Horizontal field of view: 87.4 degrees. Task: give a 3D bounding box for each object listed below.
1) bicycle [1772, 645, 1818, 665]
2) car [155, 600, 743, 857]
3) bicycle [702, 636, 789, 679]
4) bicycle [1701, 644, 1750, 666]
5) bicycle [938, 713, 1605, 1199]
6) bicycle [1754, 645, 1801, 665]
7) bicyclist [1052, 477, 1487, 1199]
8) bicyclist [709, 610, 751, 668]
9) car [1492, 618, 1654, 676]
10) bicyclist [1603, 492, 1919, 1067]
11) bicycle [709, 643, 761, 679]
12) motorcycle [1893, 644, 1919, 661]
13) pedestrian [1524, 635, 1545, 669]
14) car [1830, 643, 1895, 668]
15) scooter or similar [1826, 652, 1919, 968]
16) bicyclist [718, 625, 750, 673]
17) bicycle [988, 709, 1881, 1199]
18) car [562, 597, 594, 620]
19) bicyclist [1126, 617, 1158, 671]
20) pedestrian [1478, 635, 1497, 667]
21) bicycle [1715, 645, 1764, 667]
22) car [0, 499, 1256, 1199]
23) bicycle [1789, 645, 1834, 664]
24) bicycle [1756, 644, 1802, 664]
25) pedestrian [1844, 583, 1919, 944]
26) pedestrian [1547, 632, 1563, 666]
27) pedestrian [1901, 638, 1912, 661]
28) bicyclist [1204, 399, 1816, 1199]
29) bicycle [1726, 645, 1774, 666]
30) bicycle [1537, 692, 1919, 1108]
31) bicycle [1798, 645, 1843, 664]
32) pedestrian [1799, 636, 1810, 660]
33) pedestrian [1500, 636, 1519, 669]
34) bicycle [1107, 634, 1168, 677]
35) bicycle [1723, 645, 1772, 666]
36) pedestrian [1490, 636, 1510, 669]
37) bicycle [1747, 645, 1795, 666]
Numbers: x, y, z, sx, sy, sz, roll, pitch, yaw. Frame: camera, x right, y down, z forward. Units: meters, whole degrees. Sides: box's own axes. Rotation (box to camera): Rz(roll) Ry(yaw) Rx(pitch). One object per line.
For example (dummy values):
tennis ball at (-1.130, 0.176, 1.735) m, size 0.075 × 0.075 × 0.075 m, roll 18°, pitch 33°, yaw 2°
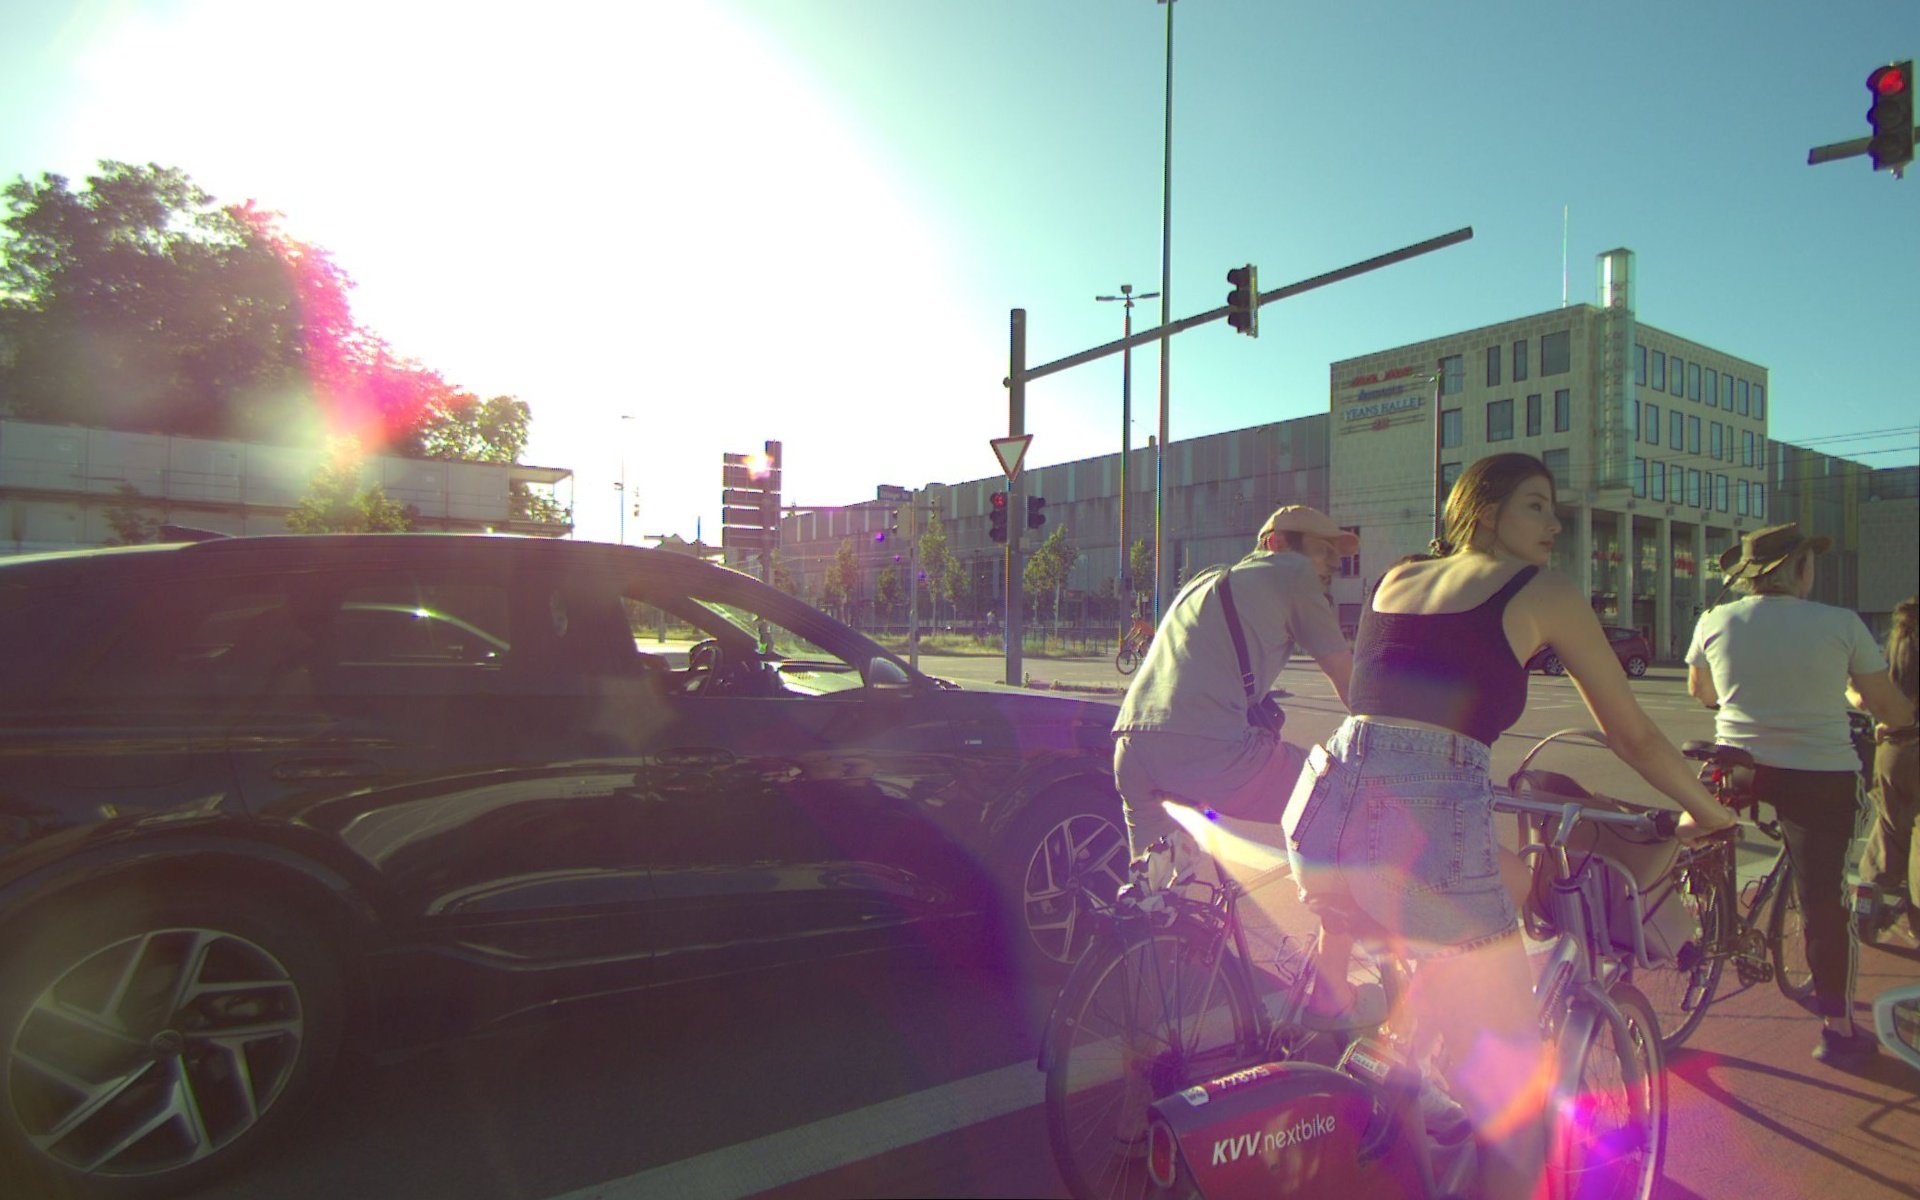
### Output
bicycle at (55.519, 3.629, 66.828) m, size 0.605 × 1.238 × 2.295 m, roll 1°, pitch -1°, yaw -31°
car at (-3.583, 0.787, 7.492) m, size 3.562 × 1.505 × 1.485 m, roll 1°, pitch 0°, yaw -30°
bicycle at (-7.707, 2.052, 36.058) m, size 2.905 × 1.388 × 0.970 m, roll 2°, pitch 0°, yaw 16°
bicycle at (45.763, 3.297, 60.081) m, size 0.605 × 1.238 × 2.295 m, roll 1°, pitch -1°, yaw -31°
bicycle at (0.943, 0.950, 2.767) m, size 1.949 × 1.124 × 0.643 m, roll 1°, pitch 0°, yaw -33°
bicycle at (52.902, 3.540, 65.016) m, size 0.605 × 1.238 × 2.295 m, roll 1°, pitch -1°, yaw -31°
bicyclist at (0.806, 0.556, 2.670) m, size 0.833 × 1.627 × 0.712 m, roll 1°, pitch 0°, yaw -32°
bicyclist at (-8.282, 1.399, 36.209) m, size 1.078 × 2.040 × 0.961 m, roll 2°, pitch 0°, yaw 15°
car at (18.042, 1.360, 29.665) m, size 3.821 × 1.606 × 1.659 m, roll 1°, pitch -1°, yaw -1°
bicyclist at (2.872, 0.554, 3.550) m, size 0.856 × 1.743 × 0.657 m, roll 2°, pitch 0°, yaw -30°
bicycle at (-9.989, 2.686, 44.475) m, size 0.962 × 1.388 × 2.930 m, roll 2°, pitch 0°, yaw -40°
motorcycle at (70.739, 3.918, 74.854) m, size 0.508 × 1.223 × 1.786 m, roll 1°, pitch 0°, yaw -44°
pedestrian at (33.397, 3.015, 58.374) m, size 0.710 × 1.910 × 0.779 m, roll 2°, pitch 0°, yaw -36°
car at (49.784, 3.071, 55.407) m, size 3.956 × 1.359 × 1.621 m, roll 2°, pitch -4°, yaw -32°
scooter or similar at (4.495, 0.923, 4.711) m, size 1.186 × 1.311 × 0.541 m, roll 2°, pitch 0°, yaw -45°
bicyclist at (-10.033, 2.158, 44.554) m, size 0.985 × 2.040 × 1.088 m, roll 2°, pitch 0°, yaw -40°
bicycle at (0.968, 0.887, 1.845) m, size 1.811 × 1.234 × 0.612 m, roll 1°, pitch 0°, yaw -33°
car at (-32.937, 0.734, 86.508) m, size 1.785 × 1.908 × 3.964 m, roll 2°, pitch 0°, yaw -33°
bicyclist at (5.070, 1.225, 28.008) m, size 0.703 × 1.456 × 0.494 m, roll 2°, pitch 0°, yaw -21°
pedestrian at (32.334, 3.118, 61.559) m, size 0.710 × 1.910 × 0.779 m, roll 2°, pitch 0°, yaw -36°
bicycle at (46.964, 3.336, 60.525) m, size 0.605 × 1.238 × 2.295 m, roll 1°, pitch -1°, yaw -31°
car at (-1.151, 0.629, 3.867) m, size 4.630 × 1.656 × 1.760 m, roll 1°, pitch 0°, yaw -32°
bicycle at (58.852, 3.744, 69.427) m, size 0.605 × 1.238 × 2.295 m, roll 1°, pitch -1°, yaw -31°
bicycle at (54.281, 3.590, 66.565) m, size 0.605 × 1.238 × 2.295 m, roll 1°, pitch -1°, yaw -31°
pedestrian at (4.636, 0.760, 4.803) m, size 0.568 × 1.654 × 0.543 m, roll 2°, pitch 0°, yaw -45°
pedestrian at (34.337, 2.803, 57.996) m, size 0.705 × 1.910 × 0.785 m, roll 2°, pitch 0°, yaw 33°
pedestrian at (71.097, 3.682, 75.454) m, size 0.579 × 1.702 × 0.516 m, roll 1°, pitch 1°, yaw -43°
bicyclist at (1.005, 0.533, 1.864) m, size 0.866 × 1.600 × 0.638 m, roll 1°, pitch 0°, yaw -33°
bicycle at (48.697, 3.396, 61.957) m, size 0.605 × 1.238 × 2.295 m, roll 1°, pitch -1°, yaw -31°
bicycle at (2.882, 0.959, 3.676) m, size 1.810 × 1.171 × 0.482 m, roll 2°, pitch 0°, yaw -31°
bicycle at (59.823, 3.776, 69.851) m, size 0.605 × 1.238 × 2.295 m, roll 1°, pitch -1°, yaw -31°
pedestrian at (63.107, 3.587, 75.057) m, size 0.602 × 1.702 × 0.549 m, roll 1°, pitch 0°, yaw -40°
pedestrian at (33.224, 3.174, 60.687) m, size 0.780 × 1.910 × 0.709 m, roll 2°, pitch 0°, yaw -37°
bicycle at (4.945, 1.551, 27.986) m, size 1.626 × 1.170 × 0.494 m, roll 2°, pitch 0°, yaw -21°
bicycle at (48.047, 3.373, 61.336) m, size 0.605 × 1.238 × 2.295 m, roll 1°, pitch -1°, yaw -31°
pedestrian at (32.163, 3.137, 59.865) m, size 0.710 × 1.910 × 0.779 m, roll 2°, pitch 0°, yaw -36°
bicycle at (51.277, 3.483, 63.549) m, size 0.605 × 1.238 × 2.295 m, roll 1°, pitch -1°, yaw -31°
